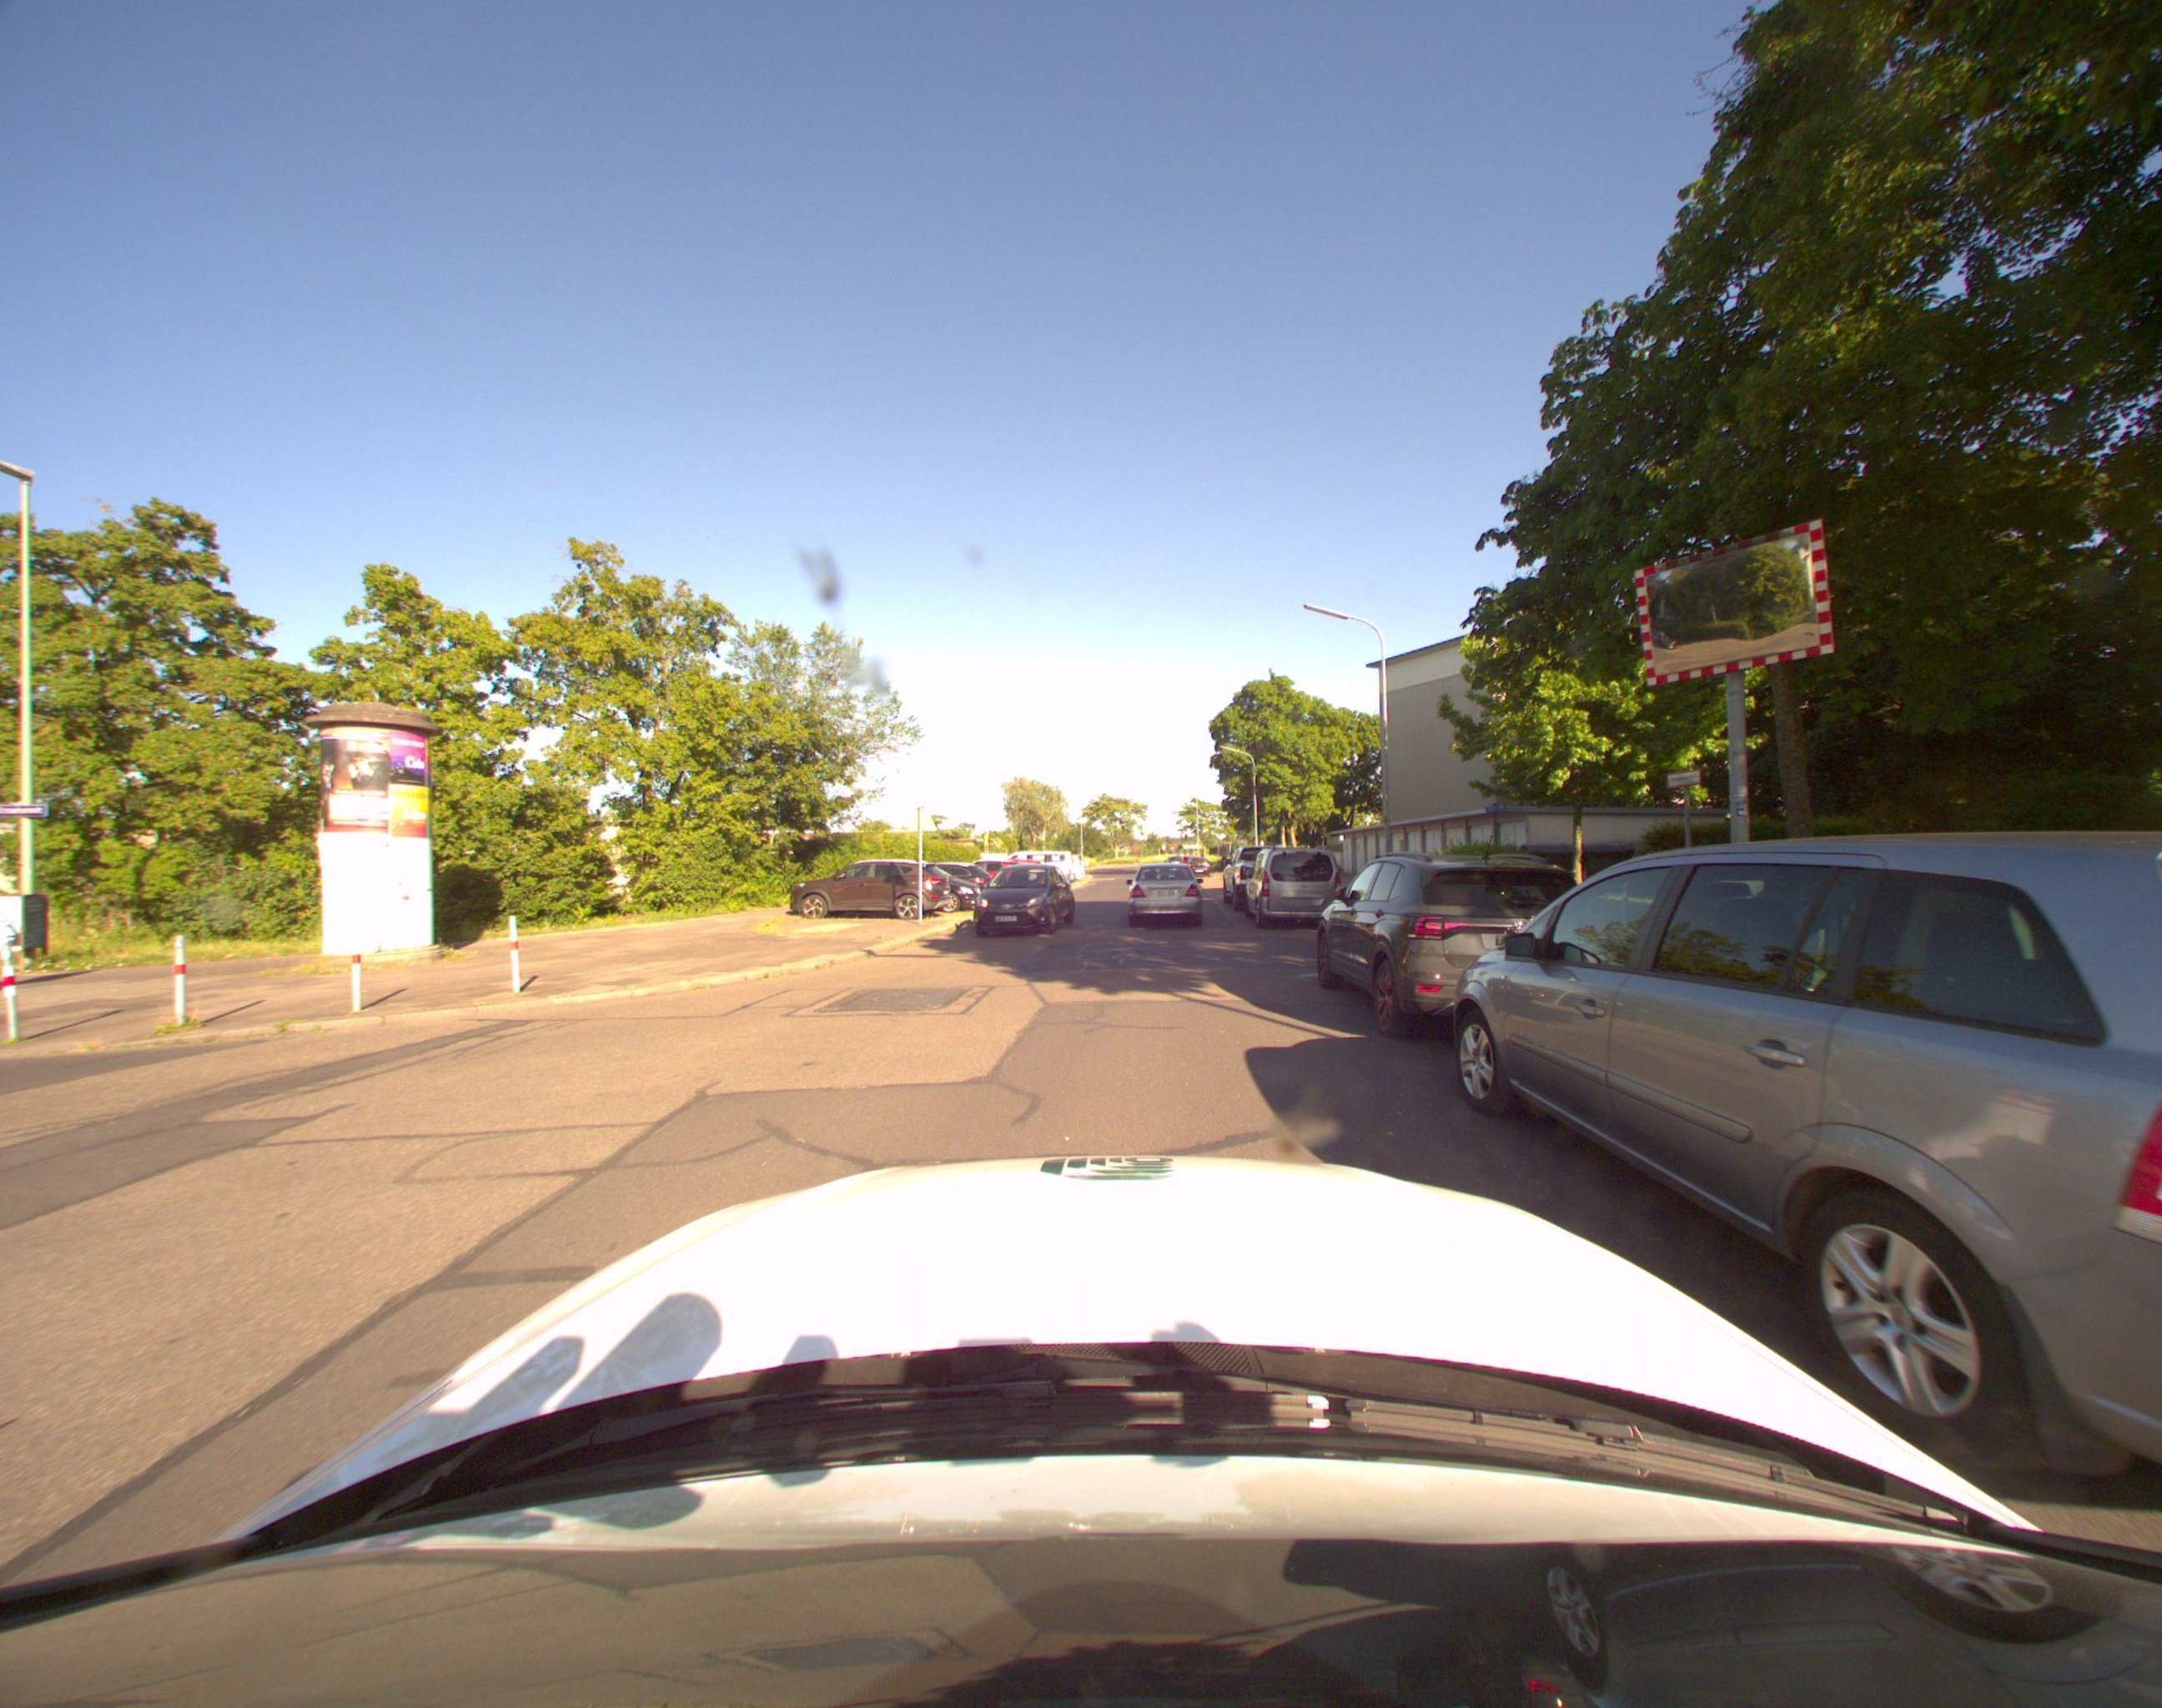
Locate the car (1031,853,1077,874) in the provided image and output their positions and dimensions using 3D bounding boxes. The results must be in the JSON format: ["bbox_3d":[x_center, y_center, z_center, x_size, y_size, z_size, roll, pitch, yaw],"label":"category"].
[{"bbox_3d":[-2.318,0.815,70.542,3.967,1.780,1.924,0,0,-3],"label":"car"}]

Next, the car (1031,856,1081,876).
[{"bbox_3d":[-1.818,0.906,60.185,3.498,1.446,1.638,1,-1,3],"label":"car"}]

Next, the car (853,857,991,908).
[{"bbox_3d":[-5.009,0.893,26.010,3.969,1.532,1.833,1,-1,3],"label":"car"}]

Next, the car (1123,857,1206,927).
[{"bbox_3d":[2.013,0.842,19.934,1.807,1.463,4.367,0,0,5],"label":"car"}]

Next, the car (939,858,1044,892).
[{"bbox_3d":[-4.113,0.967,37.746,4.522,1.479,1.750,1,0,5],"label":"car"}]

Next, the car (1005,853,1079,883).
[{"bbox_3d":[-2.300,0.843,48.730,4.132,1.706,1.886,1,-1,5],"label":"car"}]

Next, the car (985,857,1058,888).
[{"bbox_3d":[-3.113,0.952,43.146,3.584,1.567,1.855,1,0,5],"label":"car"}]

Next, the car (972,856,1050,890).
[{"bbox_3d":[-3.449,0.931,40.657,3.584,1.567,1.884,1,0,5],"label":"car"}]

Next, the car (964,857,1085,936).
[{"bbox_3d":[-1.172,0.890,18.664,1.638,1.556,4.015,-3,-1,12],"label":"car"}]

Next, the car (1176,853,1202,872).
[{"bbox_3d":[8.710,0.698,65.856,1.571,1.446,3.787,-1,-1,-1],"label":"car"}]

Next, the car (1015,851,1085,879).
[{"bbox_3d":[-2.149,0.771,57.916,4.771,1.921,2.082,1,-1,1],"label":"car"}]

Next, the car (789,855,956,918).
[{"bbox_3d":[-5.841,0.896,23.122,4.169,1.656,1.848,1,-1,3],"label":"car"}]

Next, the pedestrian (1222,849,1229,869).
[{"bbox_3d":[11.929,0.428,67.212,0.478,1.565,0.599,-3,-2,11],"label":"pedestrian"}]

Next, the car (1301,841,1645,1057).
[{"bbox_3d":[3.481,0.715,8.136,1.795,1.594,4.029,1,0,5],"label":"car"}]

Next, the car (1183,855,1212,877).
[{"bbox_3d":[8.283,0.851,58.141,1.641,1.403,3.884,-2,-1,2],"label":"car"}]

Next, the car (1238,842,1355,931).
[{"bbox_3d":[4.822,0.638,18.843,1.825,1.791,4.561,1,1,5],"label":"car"}]

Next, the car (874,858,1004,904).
[{"bbox_3d":[-4.852,0.906,28.208,4.074,1.512,1.814,1,-1,3],"label":"car"}]

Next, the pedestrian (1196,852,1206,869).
[{"bbox_3d":[10.797,0.586,73.090,0.785,1.565,0.570,1,-1,1],"label":"pedestrian"}]

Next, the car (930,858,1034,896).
[{"bbox_3d":[-4.041,0.936,33.726,3.968,1.479,1.793,1,0,5],"label":"car"}]

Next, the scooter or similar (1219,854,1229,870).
[{"bbox_3d":[11.563,0.644,66.033,0.620,1.227,0.905,-2,-1,1],"label":"scooter or similar"}]

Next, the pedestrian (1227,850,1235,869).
[{"bbox_3d":[12.152,0.444,66.048,0.484,1.565,0.468,-3,-2,-3],"label":"pedestrian"}]

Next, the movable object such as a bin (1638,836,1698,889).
[{"bbox_3d":[16.290,0.244,22.619,1.069,1.417,0.836,-1,-2,11],"label":"movable object such as a bin"}]

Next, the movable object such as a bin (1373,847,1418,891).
[{"bbox_3d":[9.929,0.487,25.751,1.240,1.347,1.057,-2,-2,17],"label":"movable object such as a bin"}]

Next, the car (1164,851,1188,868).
[{"bbox_3d":[8.774,0.490,75.571,1.726,1.543,3.787,-1,-1,-1],"label":"car"}]

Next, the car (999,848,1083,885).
[{"bbox_3d":[-2.224,0.699,46.204,4.458,1.977,2.002,1,-1,4],"label":"car"}]

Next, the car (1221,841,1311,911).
[{"bbox_3d":[5.310,0.554,24.043,1.897,1.840,5.282,1,1,5],"label":"car"}]

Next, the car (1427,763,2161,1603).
[{"bbox_3d":[3.100,0.663,3.389,1.760,1.610,4.377,1,-1,4],"label":"car"}]
